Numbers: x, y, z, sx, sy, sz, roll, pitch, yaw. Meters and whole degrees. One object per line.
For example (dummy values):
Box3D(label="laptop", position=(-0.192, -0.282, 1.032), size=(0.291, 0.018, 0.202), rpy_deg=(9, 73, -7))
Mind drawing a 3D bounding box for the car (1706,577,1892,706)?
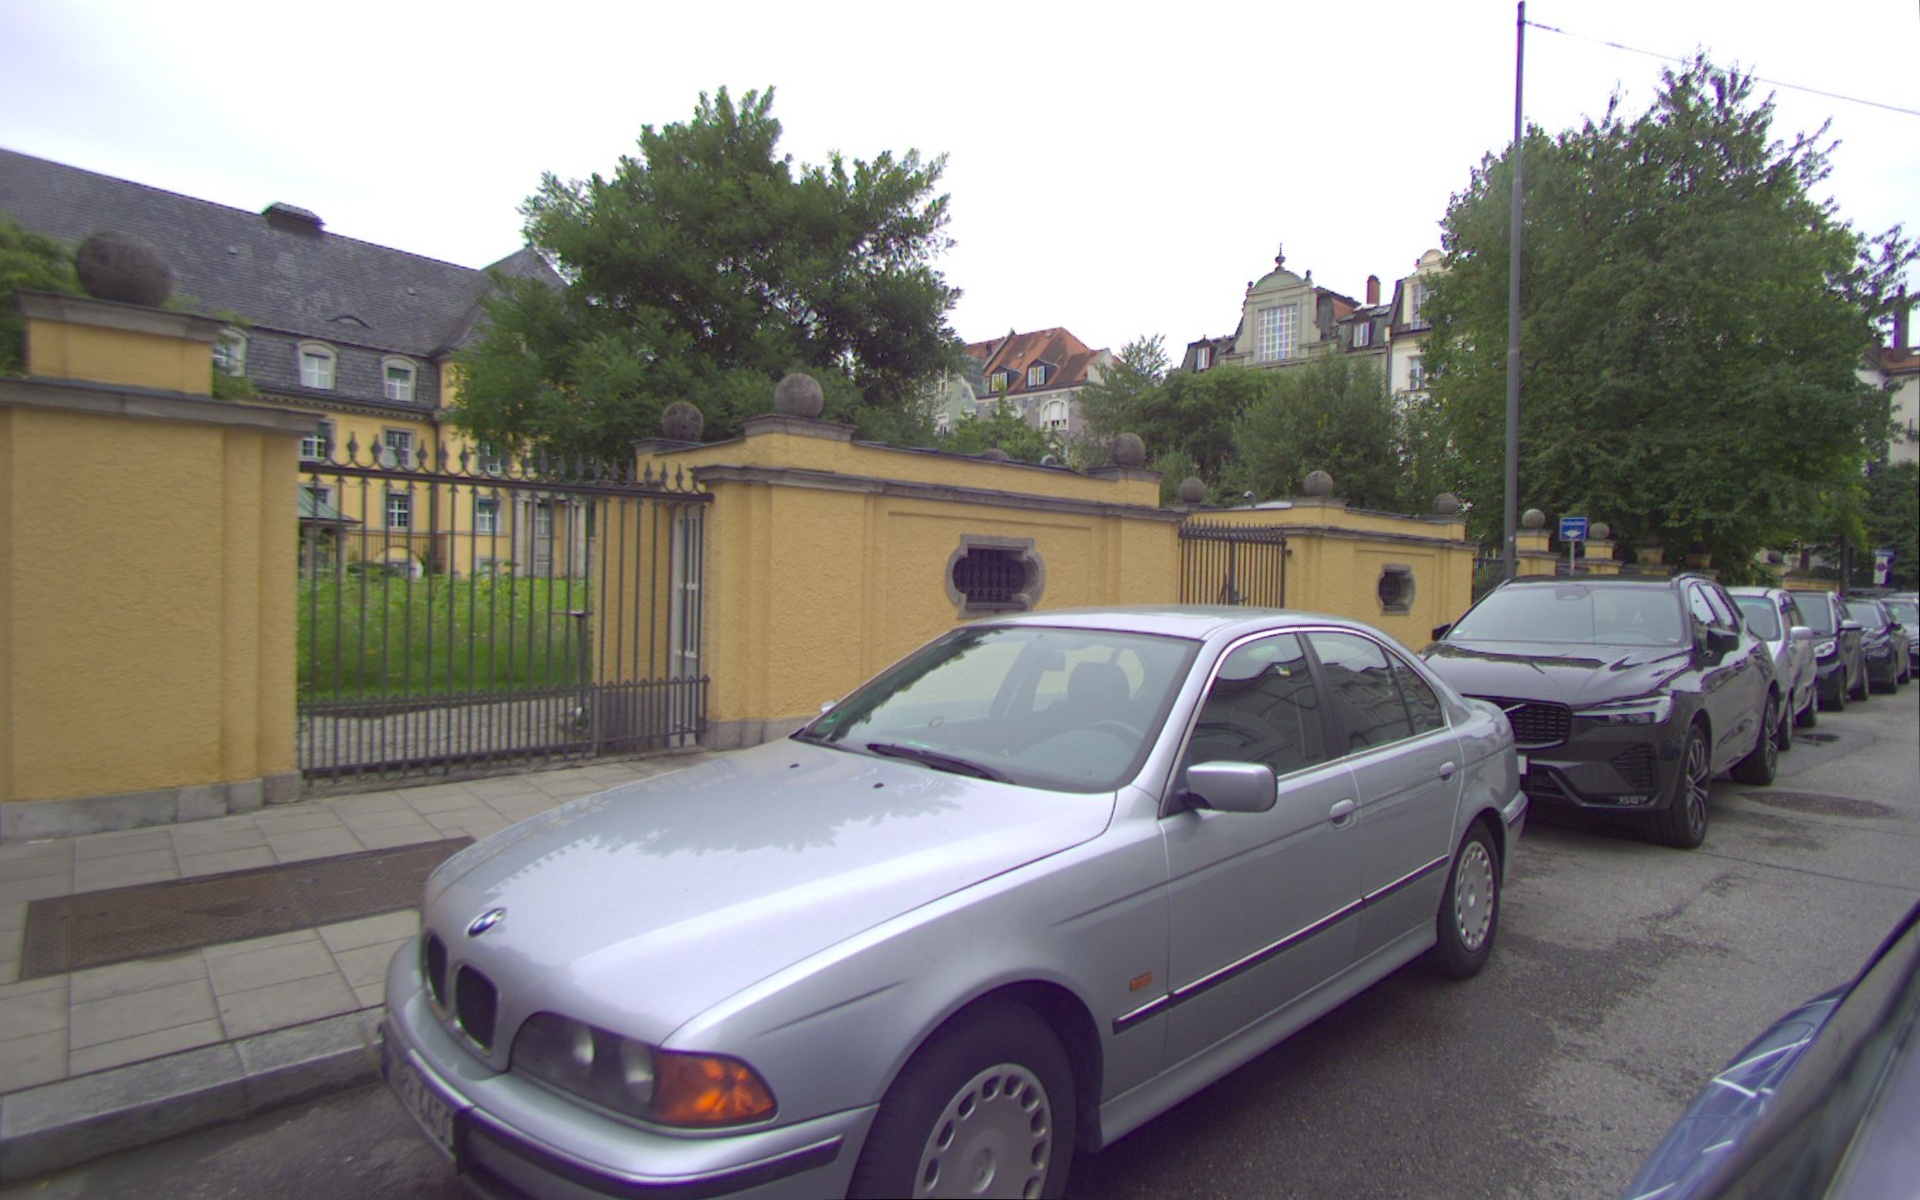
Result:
Box3D(label="car", position=(11.556, 0.502, 13.906), size=(2.819, 1.586, 1.510), rpy_deg=(0, 0, -40))

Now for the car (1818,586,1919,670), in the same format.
Box3D(label="car", position=(18.246, 0.483, 19.670), size=(4.436, 1.432, 1.695), rpy_deg=(0, 2, -41))

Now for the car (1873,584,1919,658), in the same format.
Box3D(label="car", position=(22.754, 0.457, 23.520), size=(4.610, 1.590, 1.716), rpy_deg=(0, 2, -41))

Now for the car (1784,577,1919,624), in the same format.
Box3D(label="car", position=(40.265, 0.000, 45.626), size=(1.713, 1.895, 4.669), rpy_deg=(3, 0, -44))

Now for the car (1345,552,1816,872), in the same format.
Box3D(label="car", position=(4.894, 0.573, 7.619), size=(4.743, 1.674, 1.886), rpy_deg=(0, 0, -44))

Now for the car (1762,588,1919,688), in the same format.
Box3D(label="car", position=(14.524, 0.530, 16.483), size=(3.968, 1.432, 1.694), rpy_deg=(0, 0, -43))

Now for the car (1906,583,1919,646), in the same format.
Box3D(label="car", position=(26.539, 0.384, 26.814), size=(4.245, 1.590, 1.716), rpy_deg=(0, 2, -41))

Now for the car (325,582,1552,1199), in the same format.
Box3D(label="car", position=(0.425, 0.697, 3.626), size=(4.297, 1.467, 1.885), rpy_deg=(0, 0, -45))

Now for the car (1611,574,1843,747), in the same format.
Box3D(label="car", position=(8.370, 0.540, 10.934), size=(3.632, 1.559, 1.485), rpy_deg=(0, 0, -44))
